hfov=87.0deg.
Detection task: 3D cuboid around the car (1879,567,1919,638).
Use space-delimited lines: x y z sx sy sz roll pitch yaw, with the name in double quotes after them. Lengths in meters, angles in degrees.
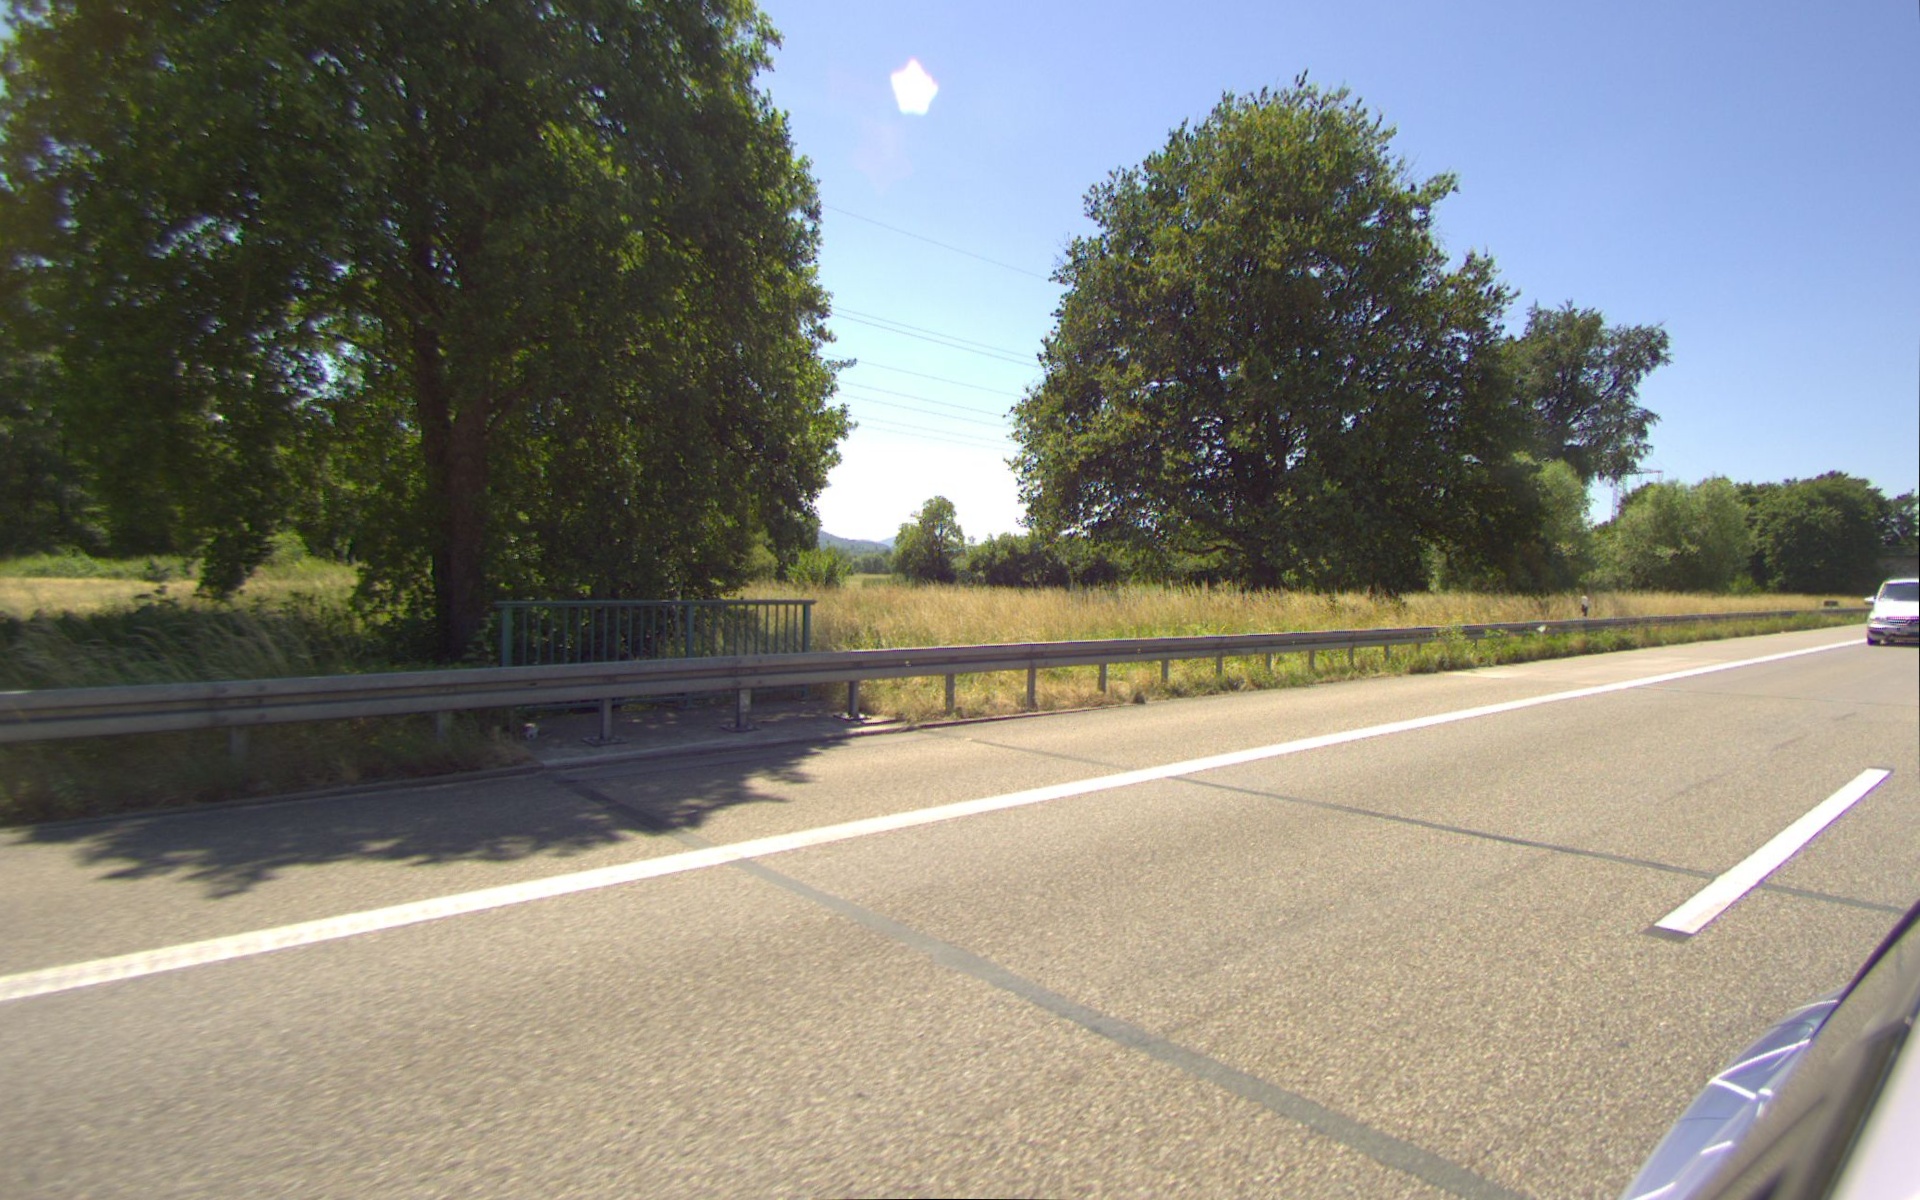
27.793 0.094 28.758 5.186 1.913 1.882 1 0 -41 "car"
